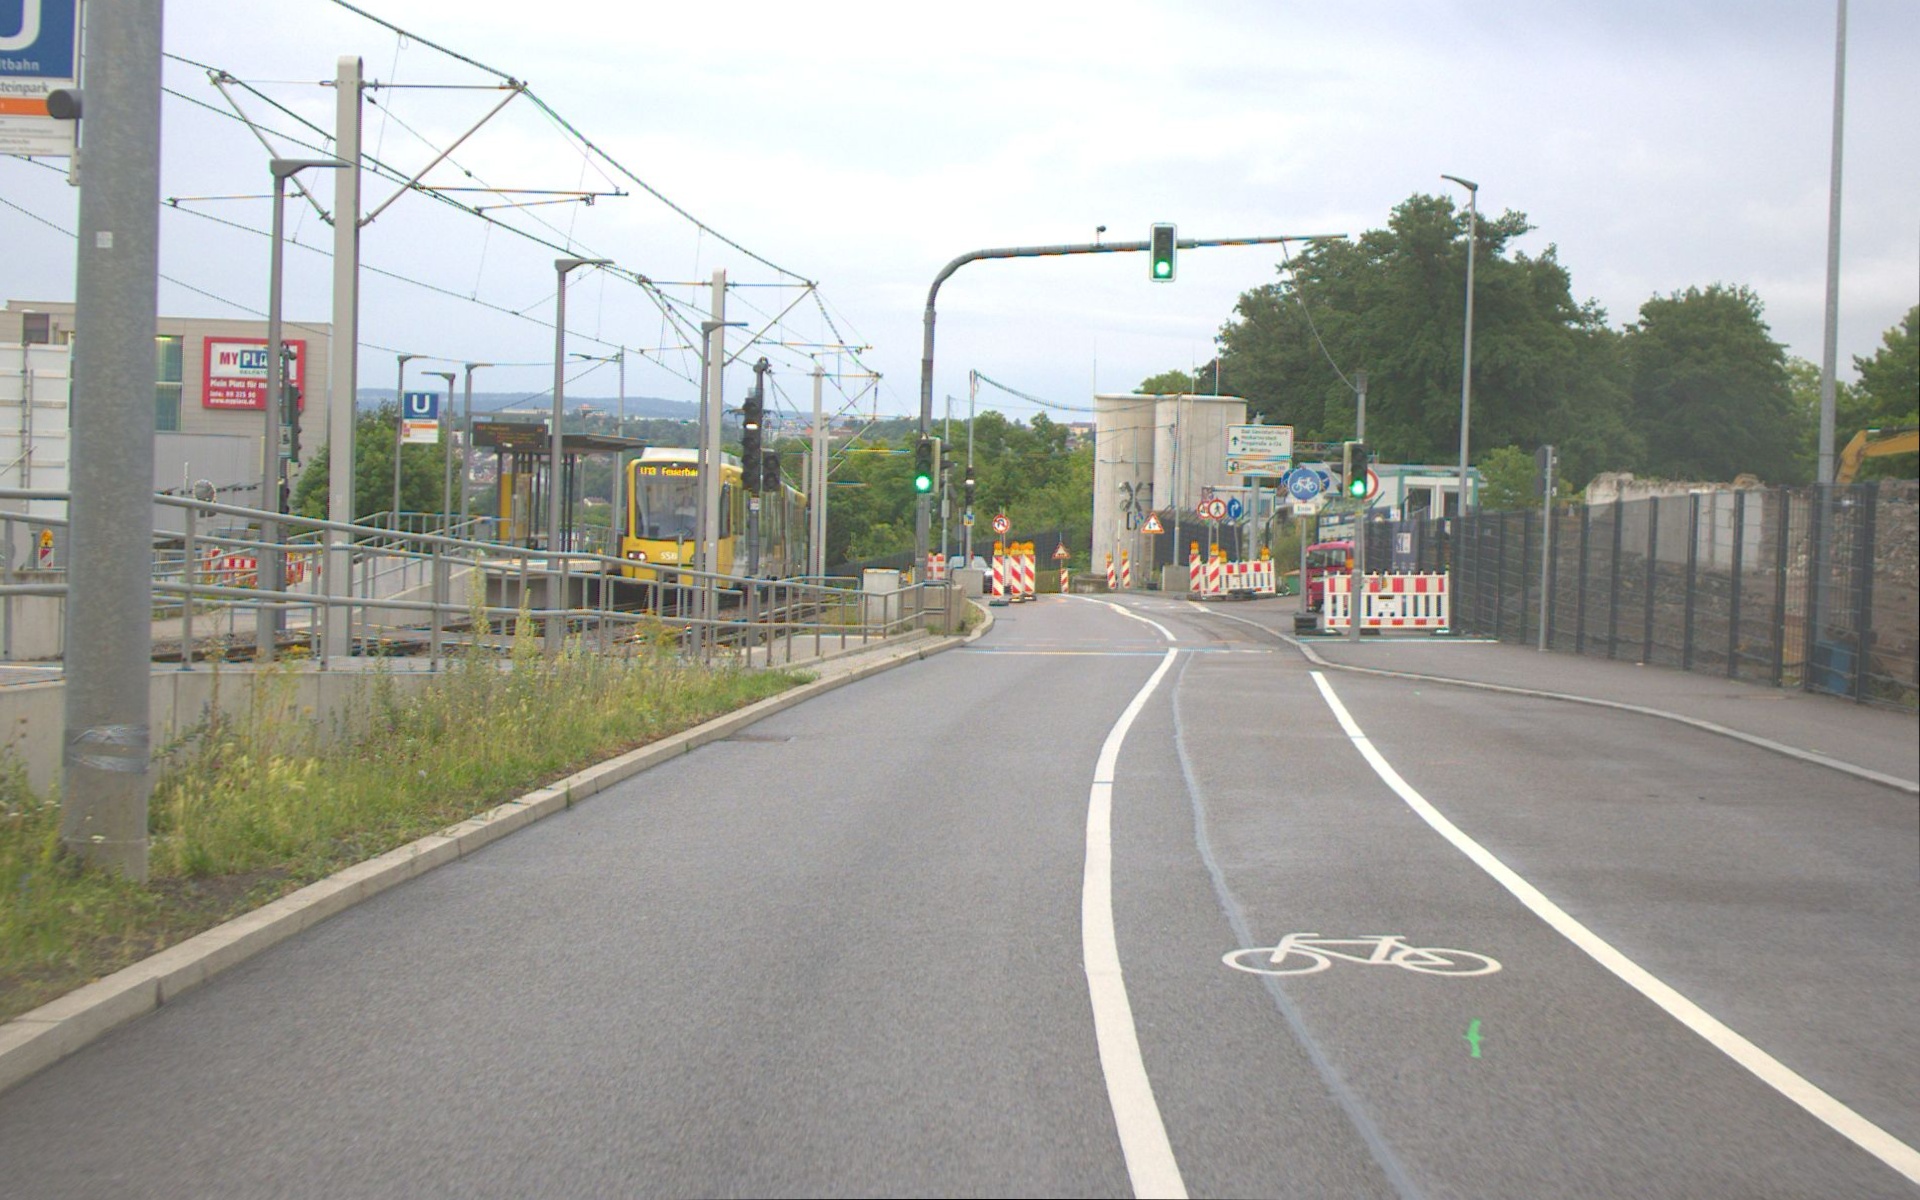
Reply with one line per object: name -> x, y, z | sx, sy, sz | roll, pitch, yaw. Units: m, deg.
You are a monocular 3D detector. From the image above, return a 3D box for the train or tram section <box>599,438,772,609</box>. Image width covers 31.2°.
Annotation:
train or tram section -> -6.950, -1.945, 90.192 | 2.955, 3.872, 19.573 | 2, 1, 0

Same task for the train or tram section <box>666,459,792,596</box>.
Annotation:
train or tram section -> -7.196, -2.282, 109.867 | 2.955, 3.872, 19.292 | 2, 1, -1

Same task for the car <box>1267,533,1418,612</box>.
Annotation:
car -> 9.146, -0.659, 81.930 | 1.823, 1.787, 4.401 | 2, 1, 32

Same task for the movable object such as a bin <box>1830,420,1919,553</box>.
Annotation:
movable object such as a bin -> 45.787, -5.144, 157.405 | 11.235, 5.975, 3.490 | 1, 0, 9

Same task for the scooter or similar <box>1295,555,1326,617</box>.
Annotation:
scooter or similar -> 7.792, -0.319, 76.361 | 0.615, 1.347, 1.911 | 1, 1, 7
